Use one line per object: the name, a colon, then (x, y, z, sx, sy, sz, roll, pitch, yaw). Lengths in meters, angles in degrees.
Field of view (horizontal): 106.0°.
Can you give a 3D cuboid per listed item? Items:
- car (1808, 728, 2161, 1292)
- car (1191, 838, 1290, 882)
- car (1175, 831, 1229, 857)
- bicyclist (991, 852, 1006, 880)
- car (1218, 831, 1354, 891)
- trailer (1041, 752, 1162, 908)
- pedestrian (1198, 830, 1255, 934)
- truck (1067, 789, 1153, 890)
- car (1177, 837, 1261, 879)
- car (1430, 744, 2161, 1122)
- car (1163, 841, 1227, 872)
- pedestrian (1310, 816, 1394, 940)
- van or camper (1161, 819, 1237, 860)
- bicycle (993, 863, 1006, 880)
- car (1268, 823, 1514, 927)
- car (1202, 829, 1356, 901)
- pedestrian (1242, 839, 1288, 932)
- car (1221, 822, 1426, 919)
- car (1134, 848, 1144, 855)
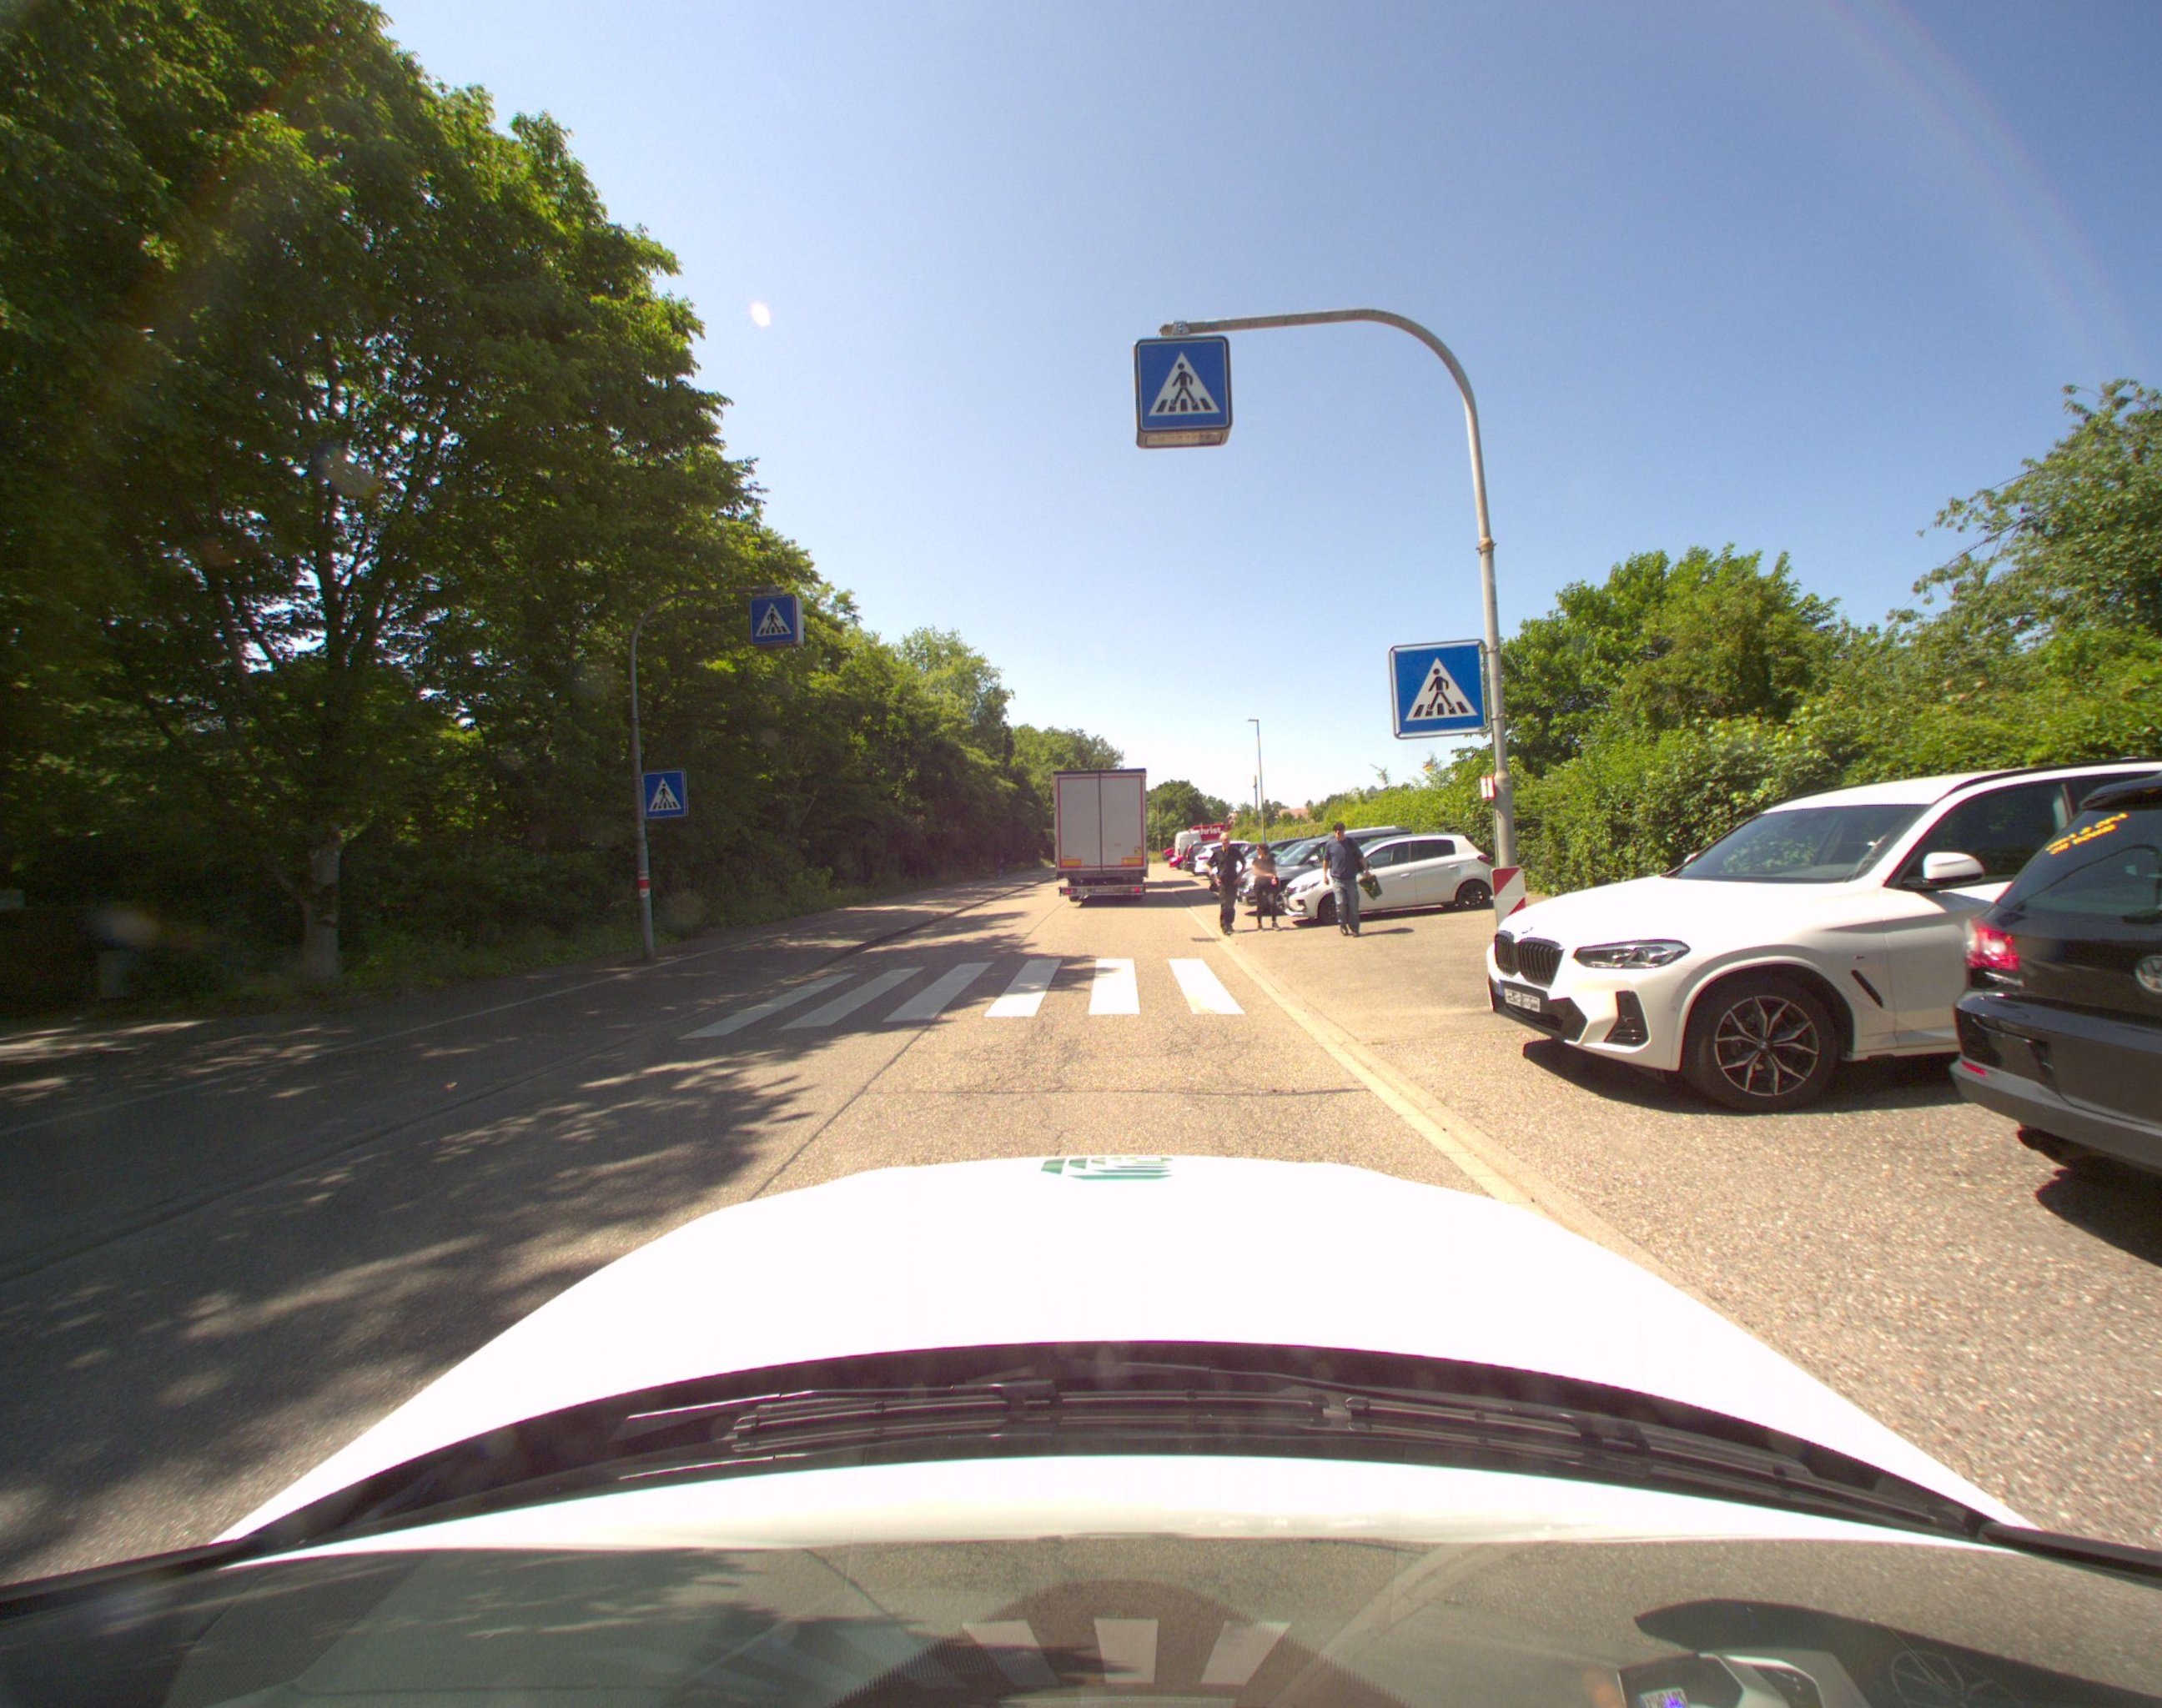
car: (5.185, 0.305, 2.505, 4.111, 1.657, 1.887, -5, 0, 1)
car: (7.110, 0.245, 36.607, 3.947, 1.618, 1.812, -5, 0, -3)
car: (9.418, -0.750, 63.446, 3.939, 1.798, 1.815, -3, 0, 3)
bicyclist: (-5.256, 0.750, 51.918, 0.713, 1.758, 0.797, -3, 0, 4)
car: (6.871, 0.231, 27.520, 3.952, 1.586, 1.809, -6, -1, -7)
trailer: (0.919, -0.658, 27.903, 3.099, 4.102, 11.548, -3, 0, 4)
pedestrian: (2.732, 0.516, 15.338, 0.818, 1.834, 0.794, -6, -1, 6)
truck: (1.307, -0.568, 34.275, 3.100, 3.725, 6.419, -3, 0, 3)
car: (7.212, 0.207, 42.760, 3.947, 1.765, 1.812, -5, 0, -3)
car: (4.862, 0.342, 5.177, 4.393, 1.698, 1.876, -5, 0, -2)
car: (7.751, 0.196, 55.718, 3.947, 1.668, 1.812, -6, -1, -3)
pedestrian: (4.257, 0.365, 12.875, 0.903, 1.798, 0.937, -6, -1, 6)
van or camper: (11.611, -1.403, 80.225, 6.994, 3.587, 2.784, -3, 0, 14)
bicycle: (-5.182, 1.103, 52.005, 0.452, 1.047, 2.205, -3, 0, 3)
car: (5.754, 0.383, 15.534, 3.937, 1.480, 1.816, -6, -1, 5)
car: (5.801, 0.271, 24.107, 3.952, 1.668, 1.810, -6, 2, -7)
pedestrian: (3.377, 0.565, 14.986, 0.586, 1.614, 0.746, -6, -1, 6)
car: (5.389, 0.356, 18.421, 3.950, 1.668, 1.810, -6, -1, -5)
car: (12.845, -0.597, 180.761, 1.770, 1.486, 4.011, -4, 0, 9)
